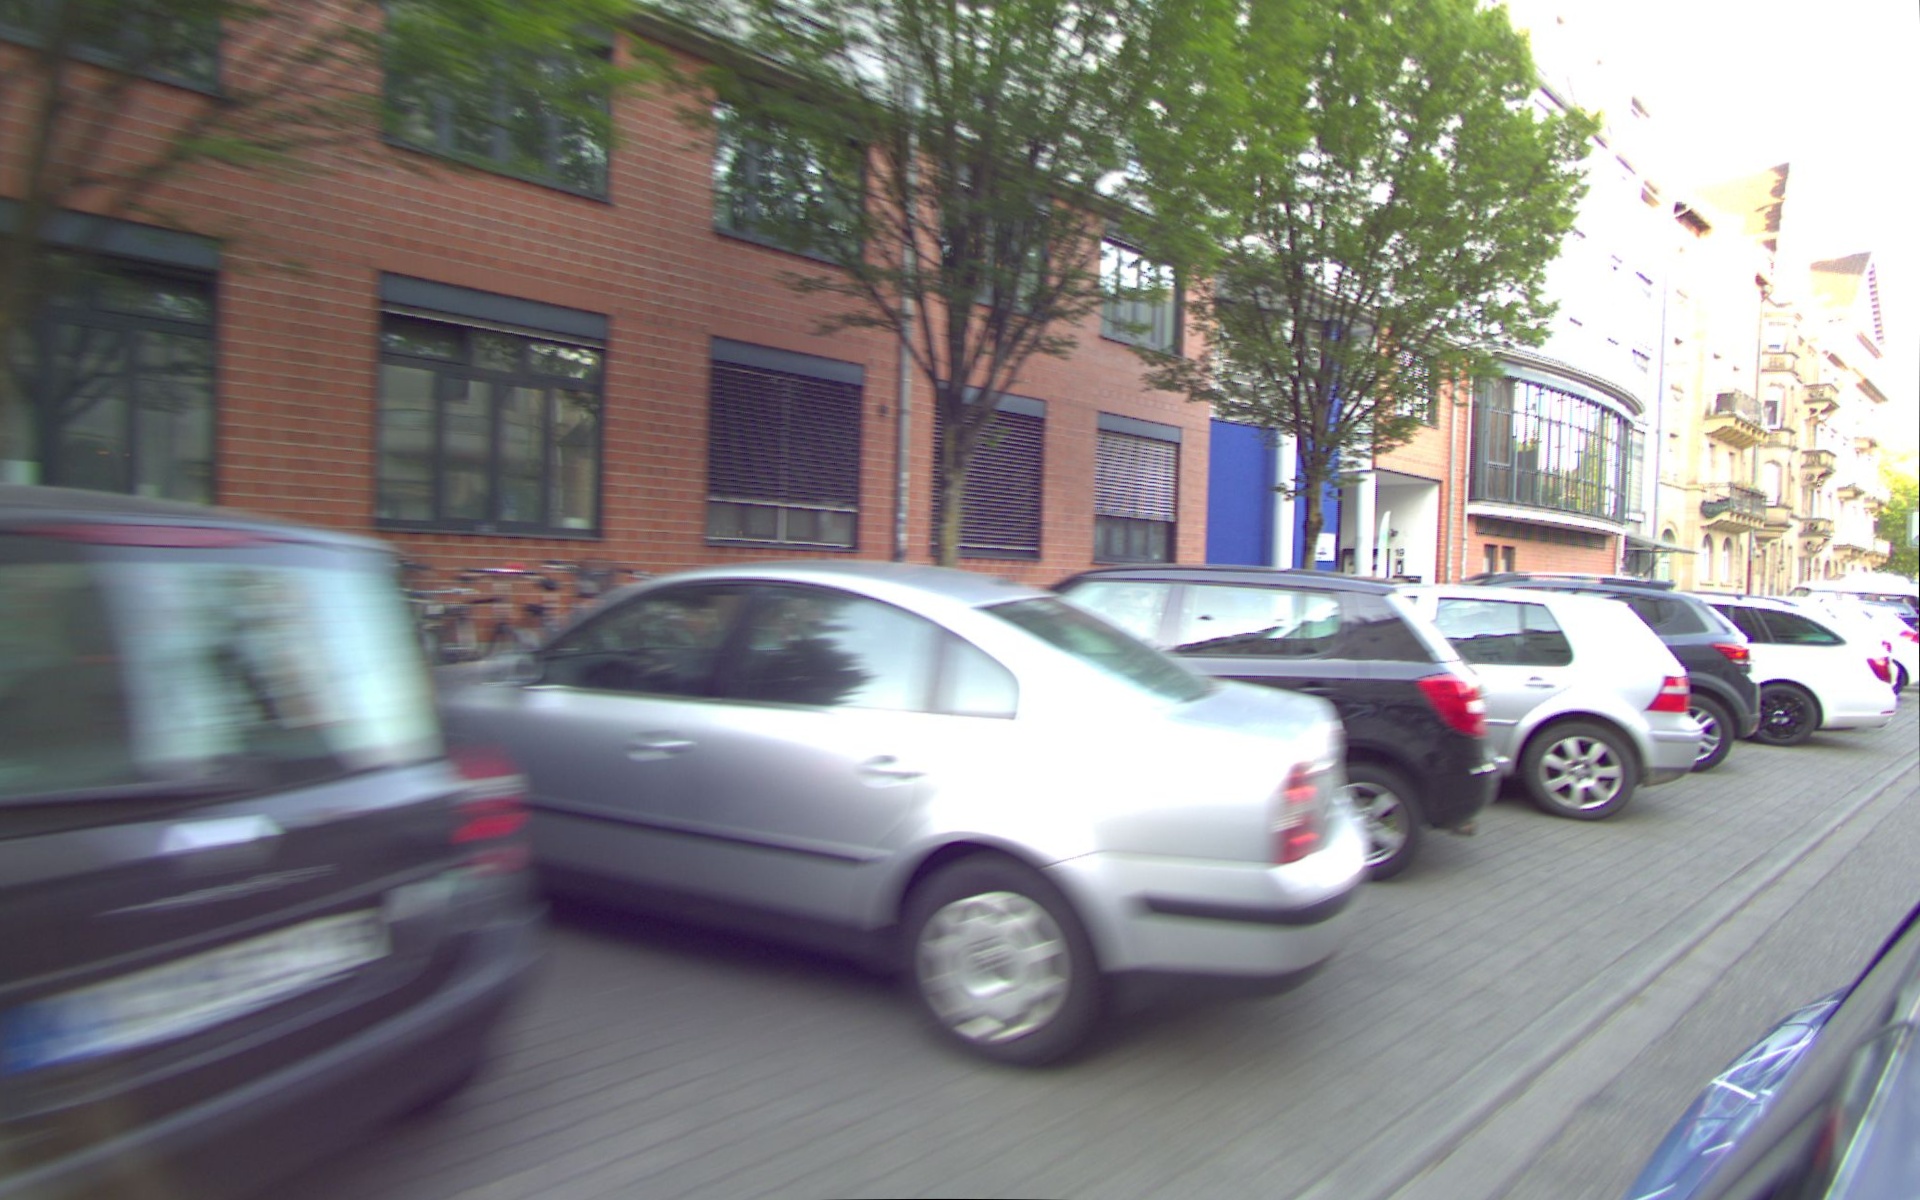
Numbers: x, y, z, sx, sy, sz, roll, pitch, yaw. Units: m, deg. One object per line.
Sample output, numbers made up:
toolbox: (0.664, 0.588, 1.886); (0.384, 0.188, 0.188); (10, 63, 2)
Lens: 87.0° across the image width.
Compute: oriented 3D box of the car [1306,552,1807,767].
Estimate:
car: (5.112, 0.424, 9.242); (3.556, 1.600, 1.707); (2, 2, 17)

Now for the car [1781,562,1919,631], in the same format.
car: (36.020, -0.155, 40.318); (4.668, 2.578, 1.906); (2, 2, 21)

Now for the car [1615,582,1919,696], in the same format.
car: (12.897, 0.552, 15.959); (3.952, 1.525, 1.758); (2, 2, 21)

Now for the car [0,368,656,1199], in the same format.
car: (-2.903, 0.392, 2.739); (3.968, 1.656, 1.740); (4, 2, 30)

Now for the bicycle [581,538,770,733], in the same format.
bicycle: (-2.445, 0.203, 8.419); (0.588, 1.396, 2.542); (1, 2, -38)

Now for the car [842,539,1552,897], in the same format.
car: (1.259, 0.476, 5.942); (3.564, 1.553, 1.551); (2, 2, 22)

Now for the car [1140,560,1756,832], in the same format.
car: (3.267, 0.516, 7.373); (3.564, 1.500, 1.710); (2, 2, 23)

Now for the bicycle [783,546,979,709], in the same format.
bicycle: (-0.849, 0.186, 9.872); (0.588, 1.396, 2.542); (1, 2, -38)

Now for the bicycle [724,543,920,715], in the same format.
bicycle: (-1.361, 0.187, 9.391); (0.588, 1.396, 2.542); (1, 2, -38)

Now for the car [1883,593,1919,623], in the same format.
car: (53.392, 0.523, 55.061); (4.189, 1.470, 1.994); (3, 3, 12)

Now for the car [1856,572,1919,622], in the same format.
car: (54.965, -0.098, 57.355); (5.789, 2.581, 2.192); (3, 4, 9)

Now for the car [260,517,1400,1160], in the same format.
car: (-0.590, 0.501, 4.181); (4.339, 1.553, 1.793); (2, 2, 24)

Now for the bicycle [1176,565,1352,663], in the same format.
bicycle: (4.181, 0.154, 14.144); (0.667, 1.112, 2.355); (1, 5, -38)

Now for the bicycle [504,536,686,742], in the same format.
bicycle: (-2.967, 0.214, 8.016); (0.588, 1.396, 2.542); (1, 2, -38)

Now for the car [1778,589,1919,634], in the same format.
car: (34.245, 0.413, 38.568); (4.306, 1.521, 1.899); (2, 2, 22)

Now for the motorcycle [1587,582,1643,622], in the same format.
motorcycle: (20.575, 0.057, 31.772); (2.398, 1.153, 0.801); (0, 4, -41)

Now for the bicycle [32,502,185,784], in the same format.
bicycle: (-5.121, 0.164, 6.193); (0.588, 1.396, 2.542); (1, 2, -38)

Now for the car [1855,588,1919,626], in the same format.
car: (46.586, 0.404, 49.230); (4.036, 1.626, 1.811); (4, 3, 12)

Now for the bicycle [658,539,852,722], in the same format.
bicycle: (-1.885, 0.186, 8.912); (0.588, 1.396, 2.542); (1, 2, -38)

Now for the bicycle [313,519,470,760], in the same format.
bicycle: (-4.073, 0.160, 7.130); (0.588, 1.259, 2.544); (1, 7, -38)

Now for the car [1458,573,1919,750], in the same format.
car: (7.678, 0.559, 10.851); (3.949, 1.556, 1.626); (2, 1, 19)

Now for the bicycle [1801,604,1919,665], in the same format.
bicycle: (18.135, 0.664, 20.278); (0.464, 1.051, 1.861); (1, 3, -41)

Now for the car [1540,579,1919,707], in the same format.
car: (10.837, 0.524, 14.529); (3.946, 1.491, 1.866); (2, 3, 17)

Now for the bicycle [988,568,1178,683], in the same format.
bicycle: (1.359, 0.237, 11.832); (0.552, 1.181, 2.542); (1, 2, -38)

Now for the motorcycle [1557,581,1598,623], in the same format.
motorcycle: (18.241, 0.035, 29.880); (0.773, 1.153, 2.385); (4, 3, 36)

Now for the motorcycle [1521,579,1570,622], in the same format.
motorcycle: (16.419, 0.004, 28.365); (2.050, 1.116, 0.589); (0, 5, -44)

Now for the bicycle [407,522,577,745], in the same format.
bicycle: (-3.557, 0.160, 7.534); (0.588, 1.396, 2.542); (1, 2, -38)

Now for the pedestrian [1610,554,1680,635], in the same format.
pedestrian: (18.166, -0.137, 26.845); (0.842, 2.026, 0.612); (0, 23, -39)

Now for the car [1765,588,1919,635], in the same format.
car: (32.313, 0.399, 37.052); (4.018, 1.510, 1.713); (2, 1, 19)

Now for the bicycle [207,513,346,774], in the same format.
bicycle: (-4.526, 0.185, 6.617); (0.588, 1.396, 2.542); (1, 2, -38)

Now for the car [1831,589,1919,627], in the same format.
car: (44.009, 0.419, 47.673); (4.000, 1.516, 1.747); (4, 3, 15)

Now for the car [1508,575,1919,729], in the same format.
car: (9.196, 0.543, 12.526); (3.949, 1.541, 1.700); (2, 3, 19)

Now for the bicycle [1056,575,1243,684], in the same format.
bicycle: (2.285, 0.308, 12.612); (0.552, 1.181, 2.542); (1, 2, -38)

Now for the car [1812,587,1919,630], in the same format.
car: (38.434, 0.372, 41.905); (4.344, 1.504, 1.832); (5, 3, 20)
